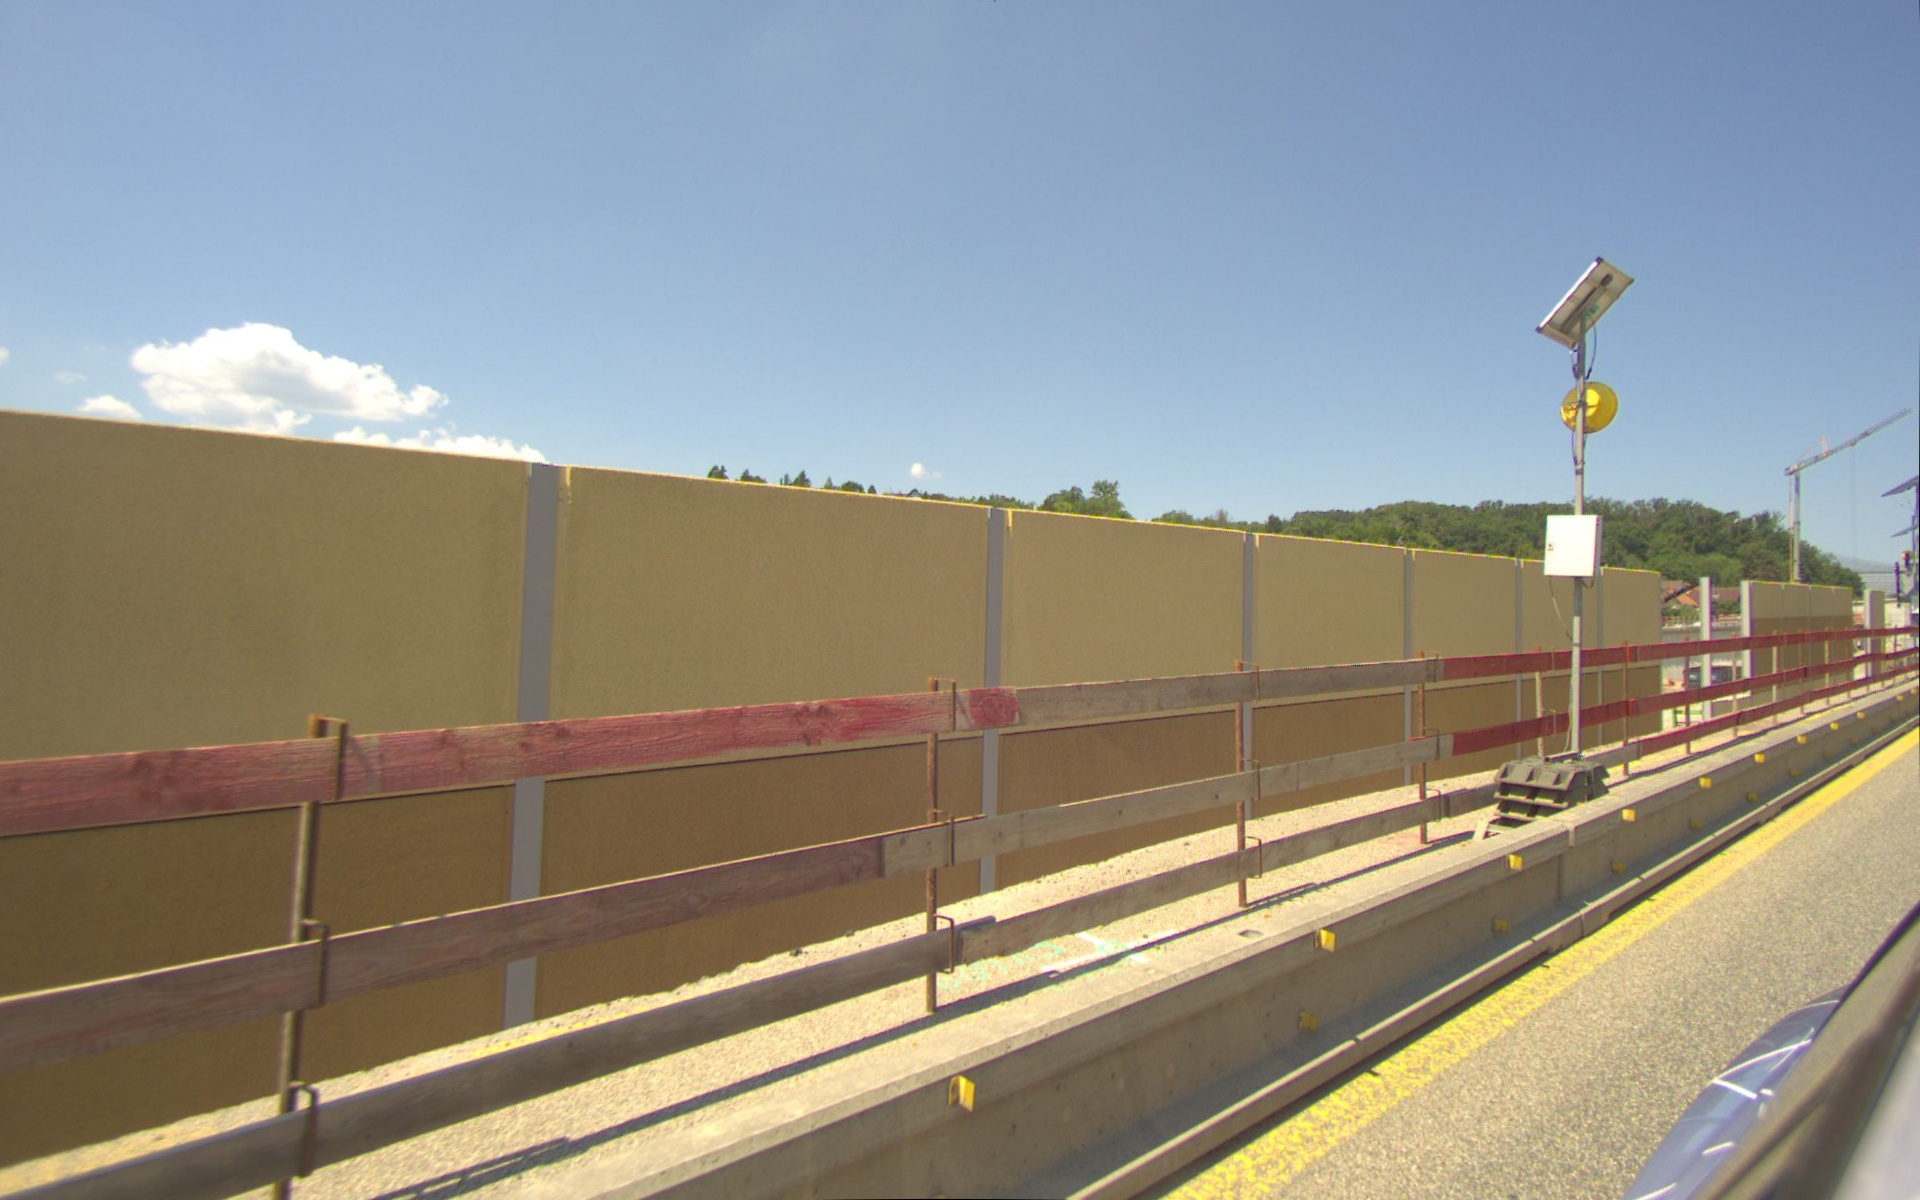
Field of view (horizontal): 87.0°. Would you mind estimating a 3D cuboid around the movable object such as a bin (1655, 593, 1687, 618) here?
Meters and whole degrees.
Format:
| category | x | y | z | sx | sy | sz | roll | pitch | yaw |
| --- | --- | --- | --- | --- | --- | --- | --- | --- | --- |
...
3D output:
| category | x | y | z | sx | sy | sz | roll | pitch | yaw |
| --- | --- | --- | --- | --- | --- | --- | --- | --- | --- |
| movable object such as a bin | 89.829 | 0.699 | 127.770 | 4.830 | 3.123 | 2.201 | 1 | -1 | -40 |
